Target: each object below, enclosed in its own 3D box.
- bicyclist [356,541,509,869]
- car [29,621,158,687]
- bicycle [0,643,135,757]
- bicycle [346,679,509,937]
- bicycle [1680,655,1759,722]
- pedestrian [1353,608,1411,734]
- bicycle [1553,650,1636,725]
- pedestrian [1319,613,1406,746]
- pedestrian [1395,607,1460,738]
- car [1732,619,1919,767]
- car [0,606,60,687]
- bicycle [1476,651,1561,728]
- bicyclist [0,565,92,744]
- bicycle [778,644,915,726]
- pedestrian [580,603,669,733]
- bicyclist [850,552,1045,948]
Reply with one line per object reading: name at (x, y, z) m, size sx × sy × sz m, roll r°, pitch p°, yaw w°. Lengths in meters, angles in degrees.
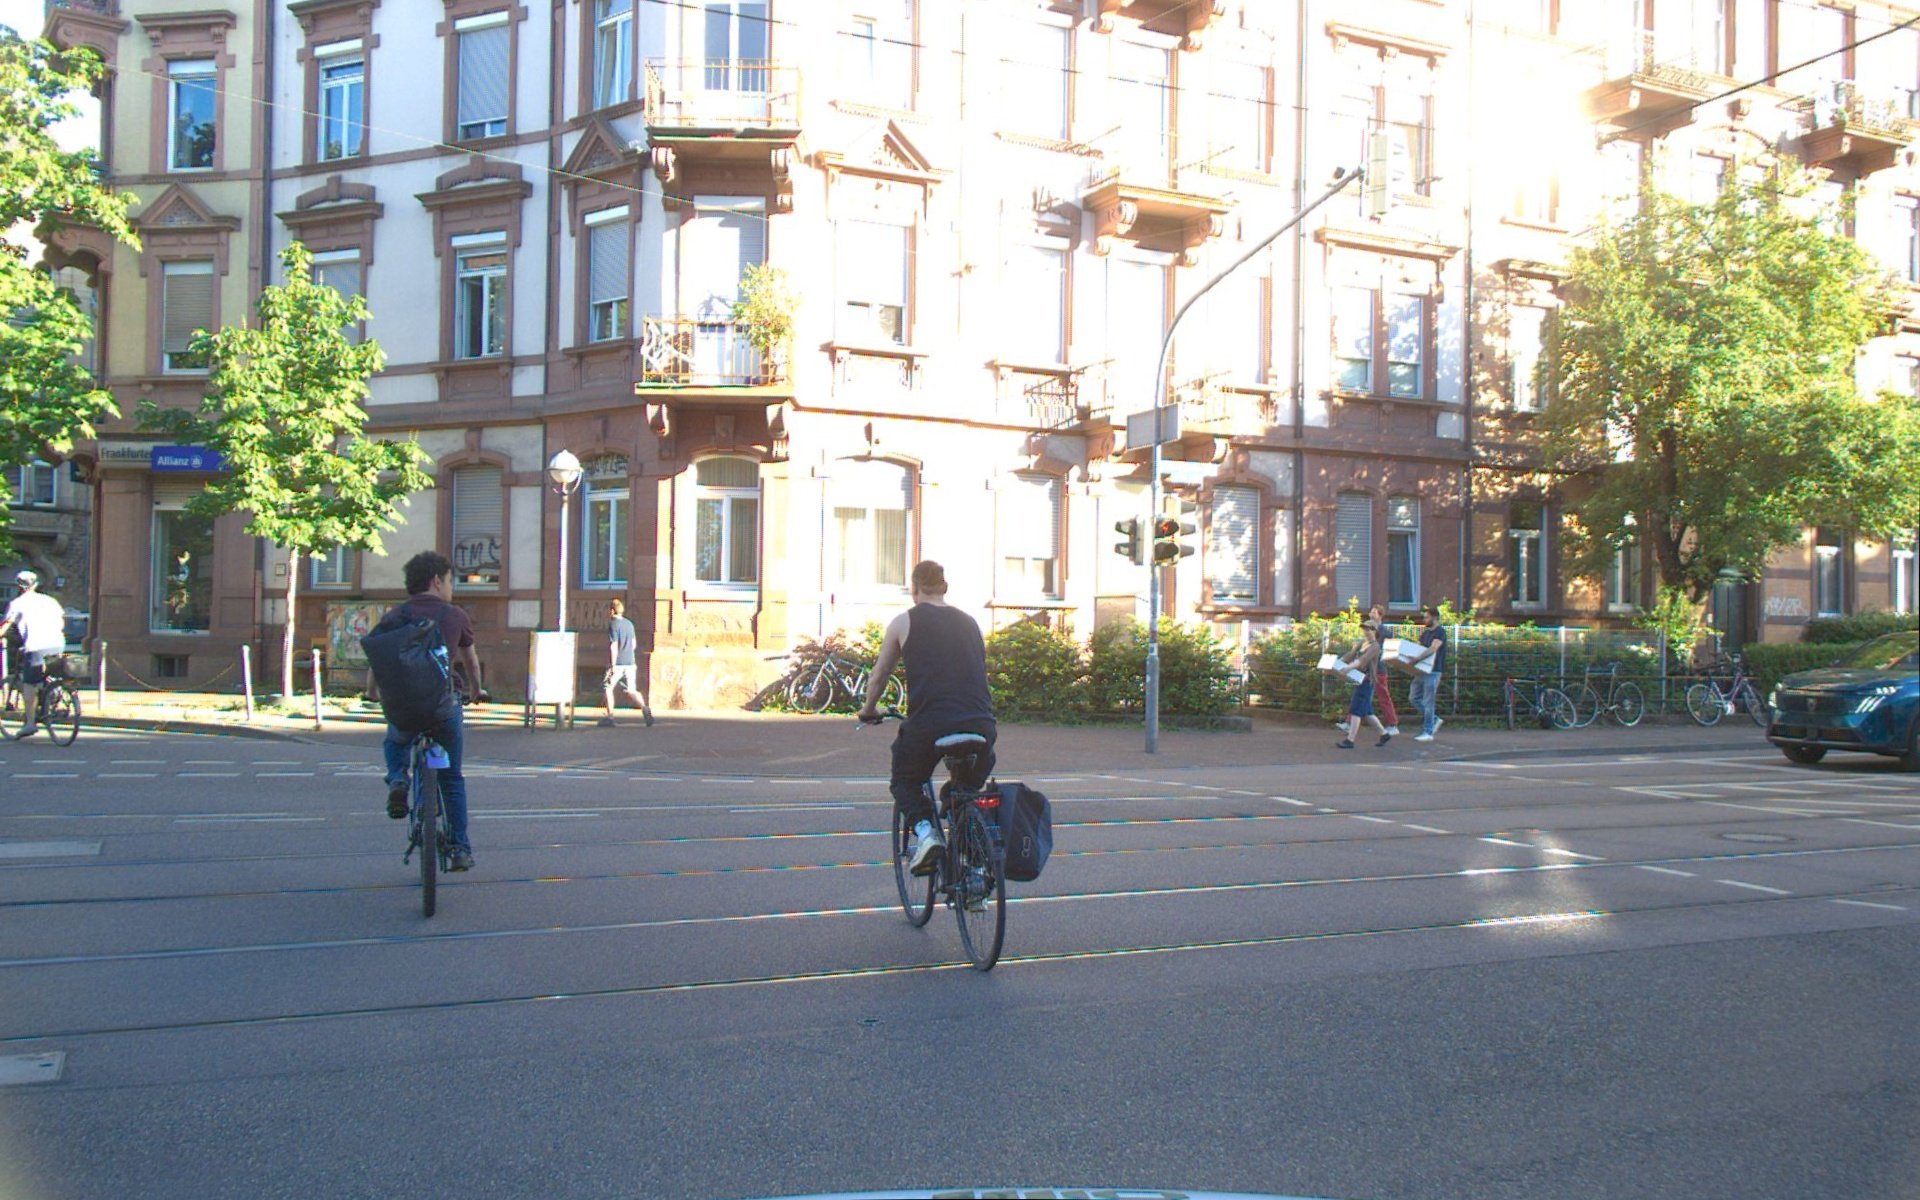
bicyclist at (-2.740, 0.524, 8.643) m, size 0.695 × 1.601 × 0.952 m, roll 1°, pitch -1°, yaw -17°
car at (-20.318, 1.245, 38.912) m, size 1.471 × 1.483 × 3.205 m, roll 1°, pitch -1°, yaw -4°
bicycle at (-10.357, 1.091, 18.549) m, size 2.176 × 1.205 × 0.812 m, roll 0°, pitch -2°, yaw 26°
bicycle at (-2.760, 1.008, 8.658) m, size 0.705 × 1.127 × 1.957 m, roll 1°, pitch -1°, yaw -17°
bicycle at (12.187, 1.411, 26.527) m, size 1.212 × 1.056 × 0.440 m, roll 1°, pitch -1°, yaw -21°
pedestrian at (5.919, 0.992, 23.224) m, size 0.623 × 1.745 × 0.520 m, roll 1°, pitch -2°, yaw -12°
bicycle at (9.808, 1.342, 25.577) m, size 1.211 × 1.127 × 0.440 m, roll 1°, pitch -1°, yaw -20°
pedestrian at (5.274, 1.031, 21.712) m, size 0.878 × 1.694 × 0.711 m, roll 1°, pitch 1°, yaw -8°
pedestrian at (6.382, 0.983, 22.595) m, size 0.623 × 1.745 × 0.662 m, roll 1°, pitch -2°, yaw -12°
car at (11.907, 1.100, 20.493) m, size 4.340 × 1.679 × 1.933 m, roll 1°, pitch -2°, yaw -25°
car at (-20.308, 0.937, 33.482) m, size 1.755 × 1.639 × 4.368 m, roll 0°, pitch -1°, yaw 0°
bicycle at (8.485, 1.348, 25.124) m, size 1.211 × 1.127 × 0.440 m, roll 0°, pitch -1°, yaw -20°
bicyclist at (-10.449, 0.602, 18.610) m, size 0.923 × 1.947 × 0.796 m, roll 0°, pitch -2°, yaw 26°
bicycle at (-1.661, 1.240, 24.312) m, size 1.918 × 1.127 × 0.443 m, roll 2°, pitch -1°, yaw 9°
pedestrian at (-4.477, 0.885, 22.083) m, size 0.886 × 1.663 × 0.723 m, roll 2°, pitch 0°, yaw 33°
bicyclist at (-0.082, 0.653, 7.629) m, size 0.675 × 1.685 × 0.986 m, roll 0°, pitch -2°, yaw -14°
